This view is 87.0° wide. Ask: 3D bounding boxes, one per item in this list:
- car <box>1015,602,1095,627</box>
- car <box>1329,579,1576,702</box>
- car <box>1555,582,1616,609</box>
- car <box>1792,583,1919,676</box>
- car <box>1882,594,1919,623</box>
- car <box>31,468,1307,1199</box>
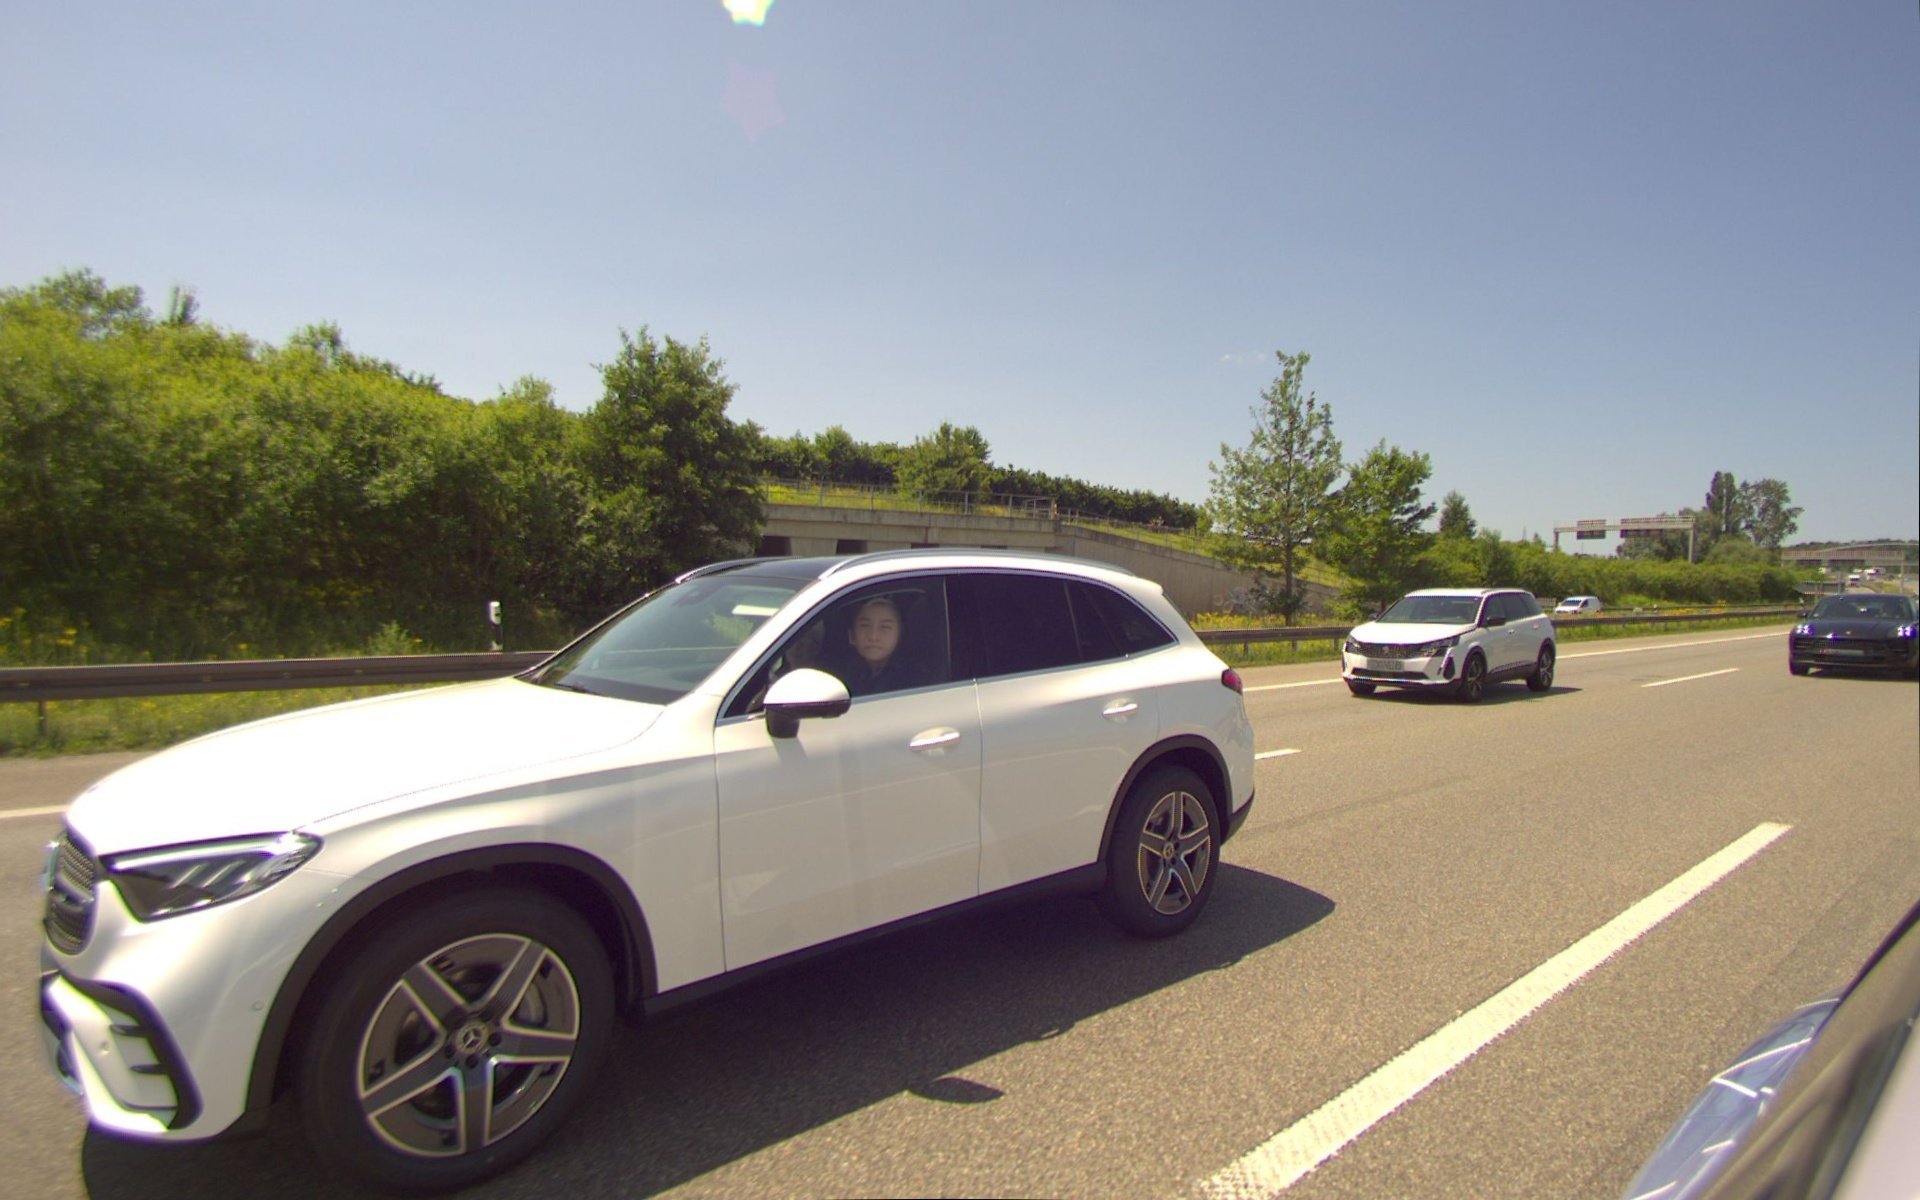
[{"bbox_3d":[5.223,0.761,55.539,3.994,1.296,1.902,0,0,-27],"label":"car"},{"bbox_3d":[7.785,0.523,15.797,4.537,1.650,1.896,0,0,-42],"label":"car"},{"bbox_3d":[49.677,-0.346,80.355,4.667,2.039,2.003,0,1,-29],"label":"car"},{"bbox_3d":[18.046,0.497,19.919,4.539,1.650,1.980,-1,0,-43],"label":"car"},{"bbox_3d":[51.459,0.417,55.137,1.747,1.489,3.937,0,1,44],"label":"car"},{"bbox_3d":[-0.652,0.576,4.143,4.555,1.677,1.908,0,0,-41],"label":"car"}]
